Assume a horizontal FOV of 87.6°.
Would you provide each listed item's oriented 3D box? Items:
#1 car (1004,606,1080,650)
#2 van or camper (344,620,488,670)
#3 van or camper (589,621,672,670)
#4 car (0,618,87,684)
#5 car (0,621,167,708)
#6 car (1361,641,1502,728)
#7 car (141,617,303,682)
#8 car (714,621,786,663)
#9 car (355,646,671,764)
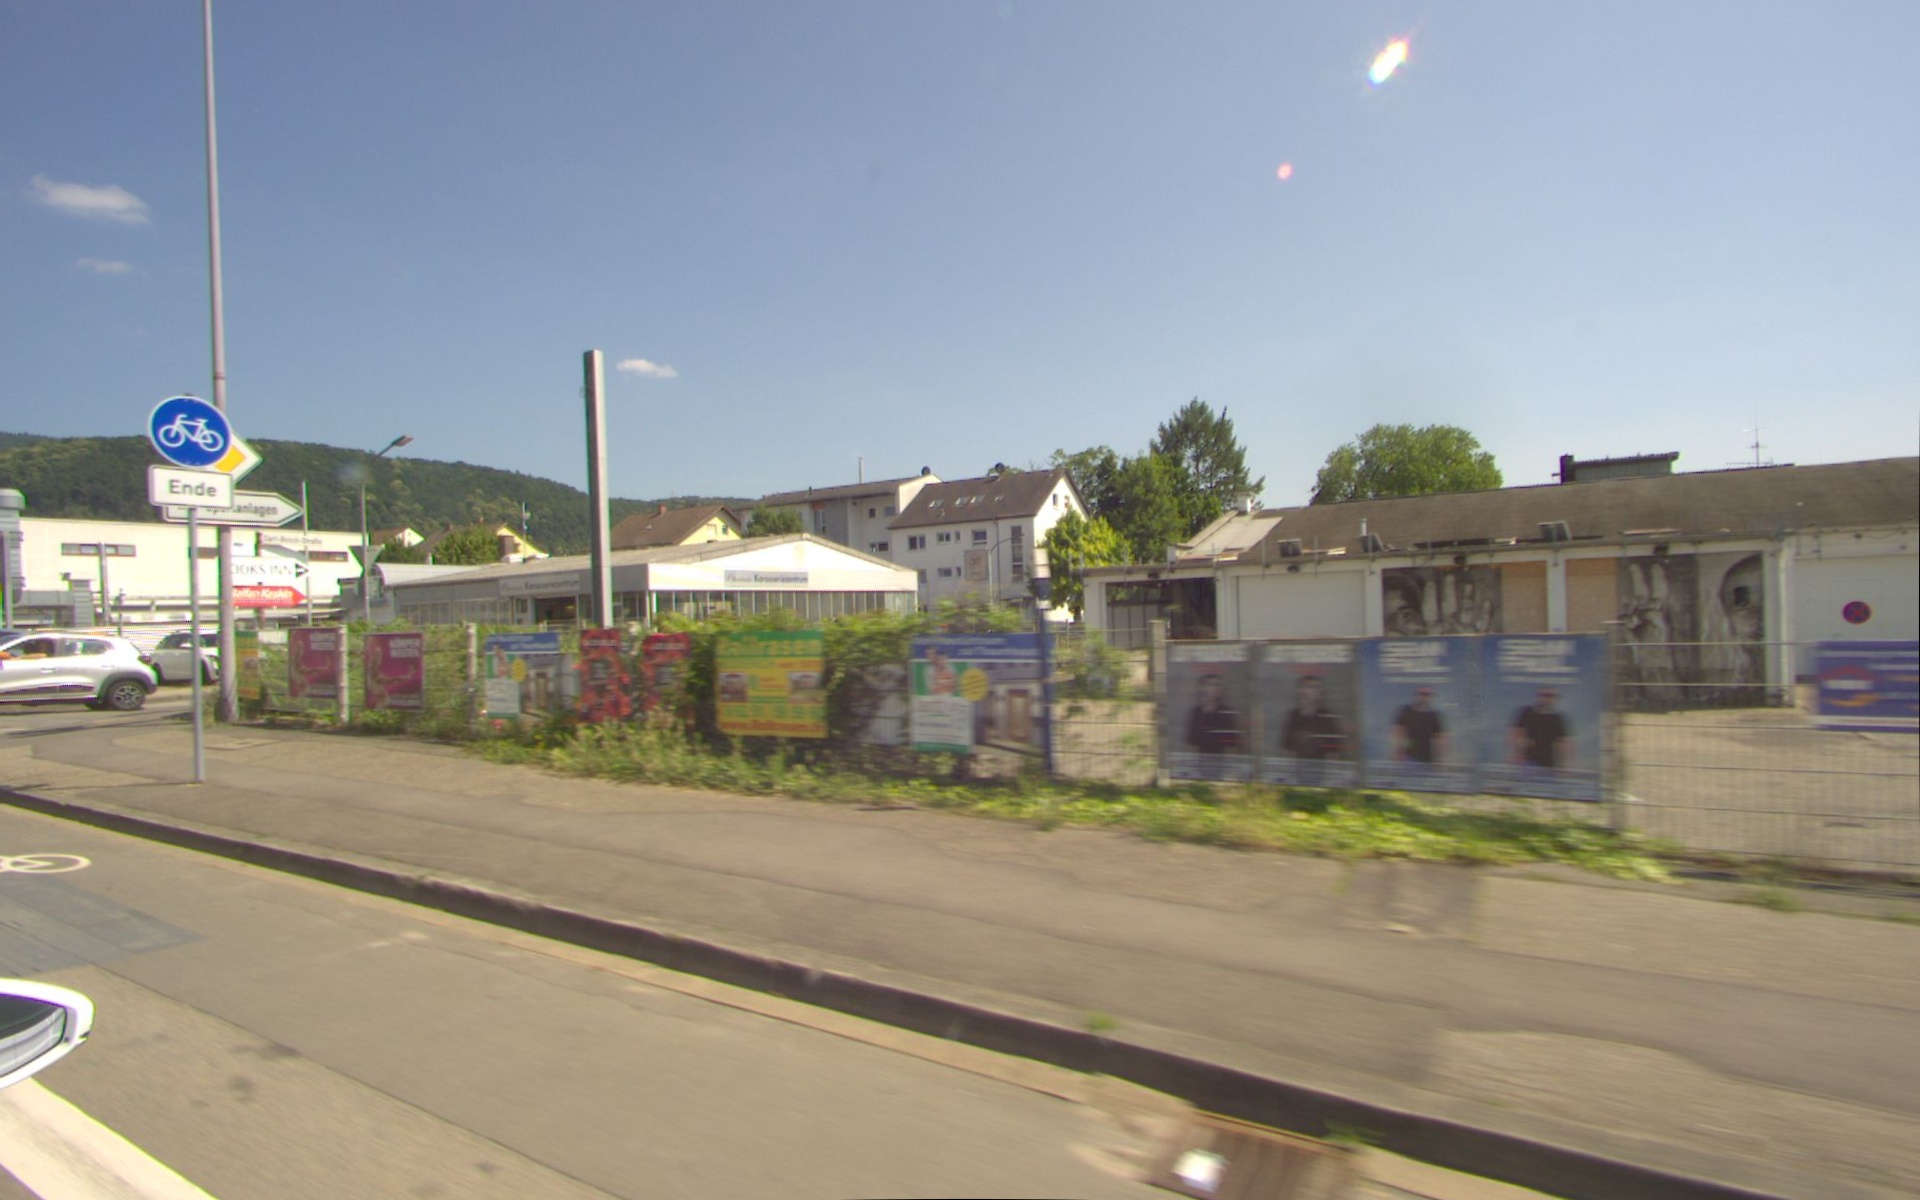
[{"bbox_3d":[3.646,1.218,43.913,1.969,1.817,3.985,0,-1,28],"label":"car"},{"bbox_3d":[-16.832,1.378,30.985,4.166,1.367,1.994,-1,-6,30],"label":"van or camper"},{"bbox_3d":[-12.603,1.726,38.099,1.971,1.563,4.206,-6,1,-31],"label":"van or camper"},{"bbox_3d":[-21.692,1.159,22.639,1.930,1.375,4.479,3,-5,-28],"label":"car"},{"bbox_3d":[-17.200,1.157,18.497,1.703,1.504,3.658,0,-1,32],"label":"car"},{"bbox_3d":[9.593,1.595,20.182,2.089,1.416,4.320,0,-1,32],"label":"car"},{"bbox_3d":[-19.266,1.233,26.106,4.440,1.524,1.844,-1,0,31],"label":"car"},{"bbox_3d":[-9.216,1.776,43.691,1.971,1.669,3.980,1,0,-29],"label":"car"},{"bbox_3d":[-6.364,1.410,14.642,1.586,1.363,3.973,-1,-1,37],"label":"car"}]
